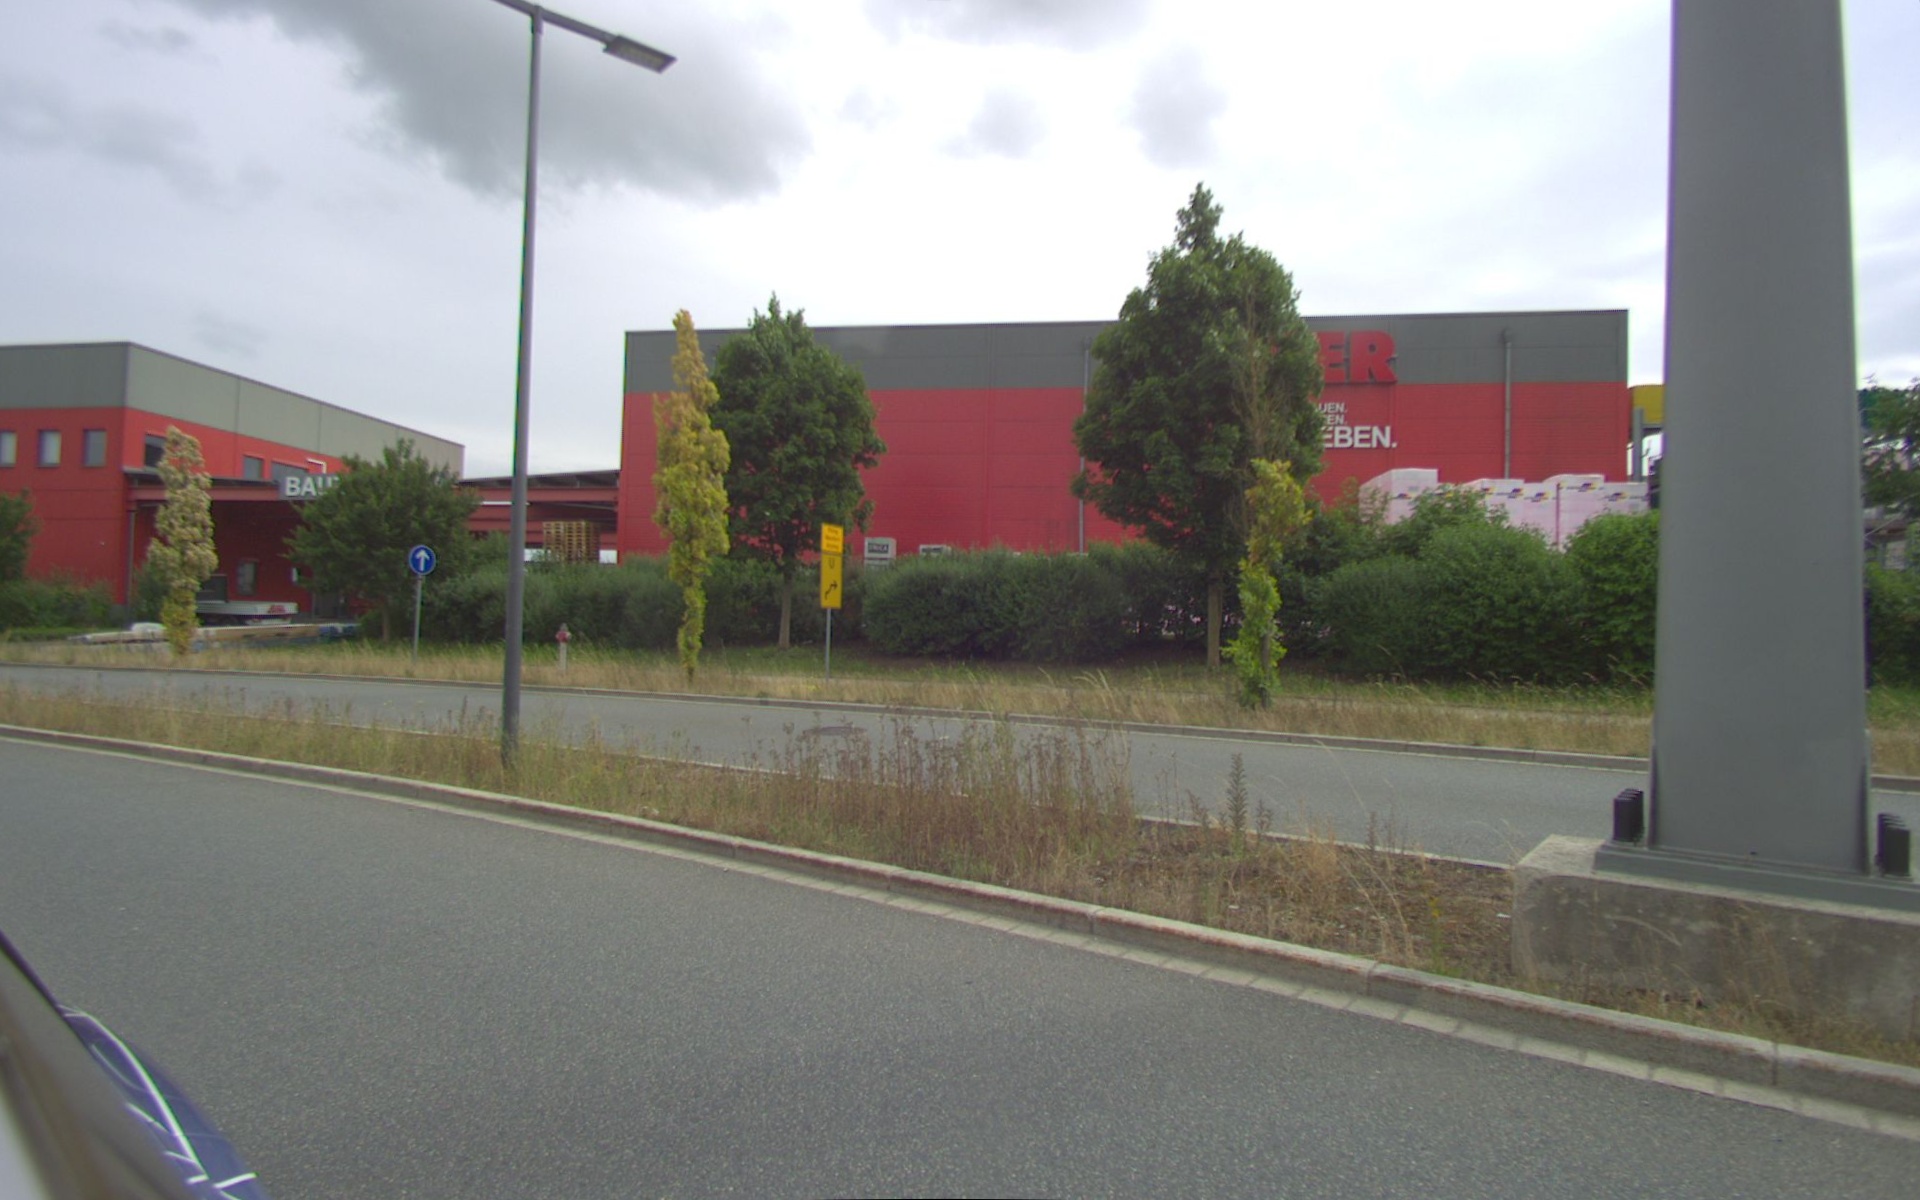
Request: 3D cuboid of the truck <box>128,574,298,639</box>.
[{"bbox_3d":[-30.480,0.272,41.351,5.839,2.506,2.035,1,-1,8],"label":"truck"}]
